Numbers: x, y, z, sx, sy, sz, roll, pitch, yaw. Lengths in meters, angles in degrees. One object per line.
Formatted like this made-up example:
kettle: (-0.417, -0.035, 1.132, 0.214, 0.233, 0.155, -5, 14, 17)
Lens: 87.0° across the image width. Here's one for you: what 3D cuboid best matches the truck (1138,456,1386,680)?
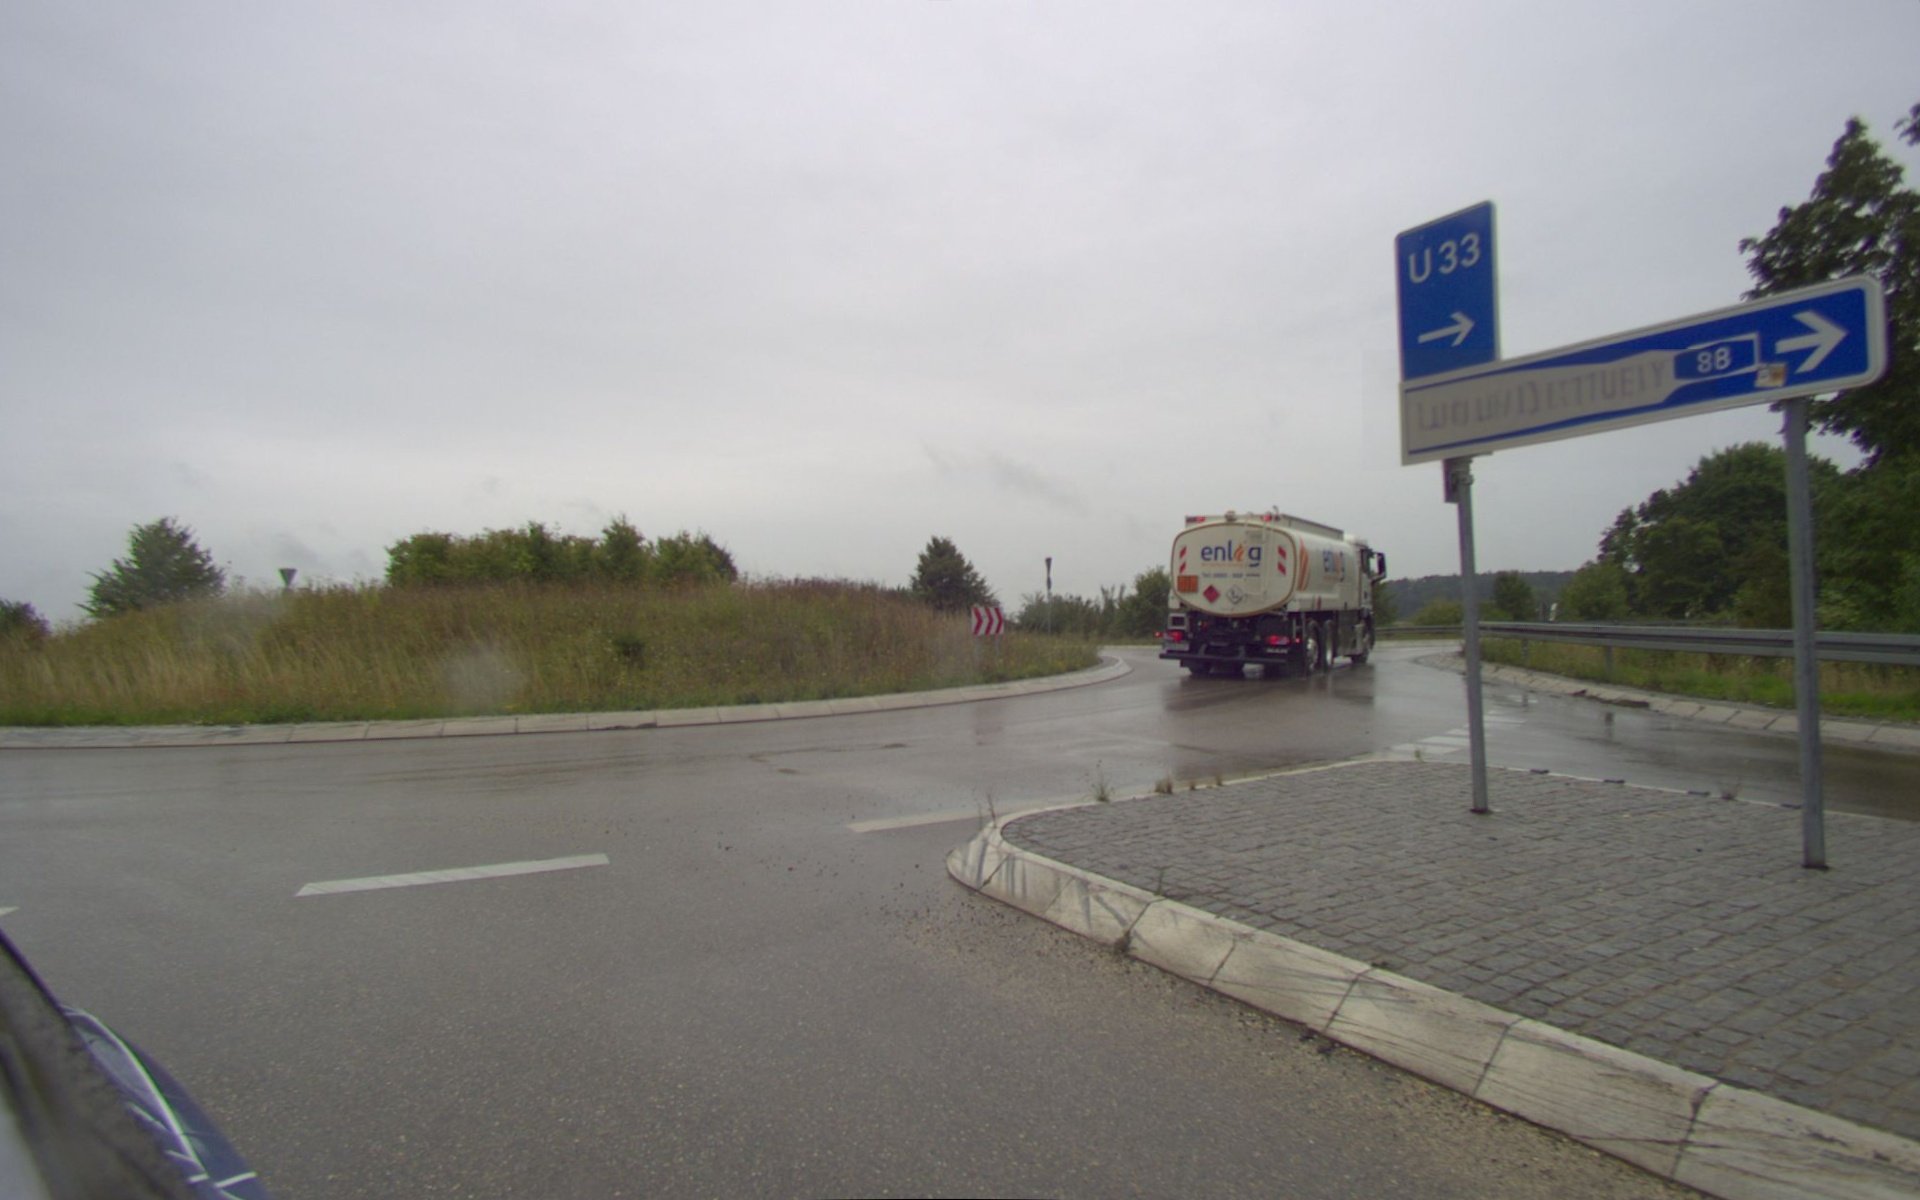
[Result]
truck: (6.931, -0.554, 22.020, 3.038, 3.881, 8.729, -2, 0, 31)
